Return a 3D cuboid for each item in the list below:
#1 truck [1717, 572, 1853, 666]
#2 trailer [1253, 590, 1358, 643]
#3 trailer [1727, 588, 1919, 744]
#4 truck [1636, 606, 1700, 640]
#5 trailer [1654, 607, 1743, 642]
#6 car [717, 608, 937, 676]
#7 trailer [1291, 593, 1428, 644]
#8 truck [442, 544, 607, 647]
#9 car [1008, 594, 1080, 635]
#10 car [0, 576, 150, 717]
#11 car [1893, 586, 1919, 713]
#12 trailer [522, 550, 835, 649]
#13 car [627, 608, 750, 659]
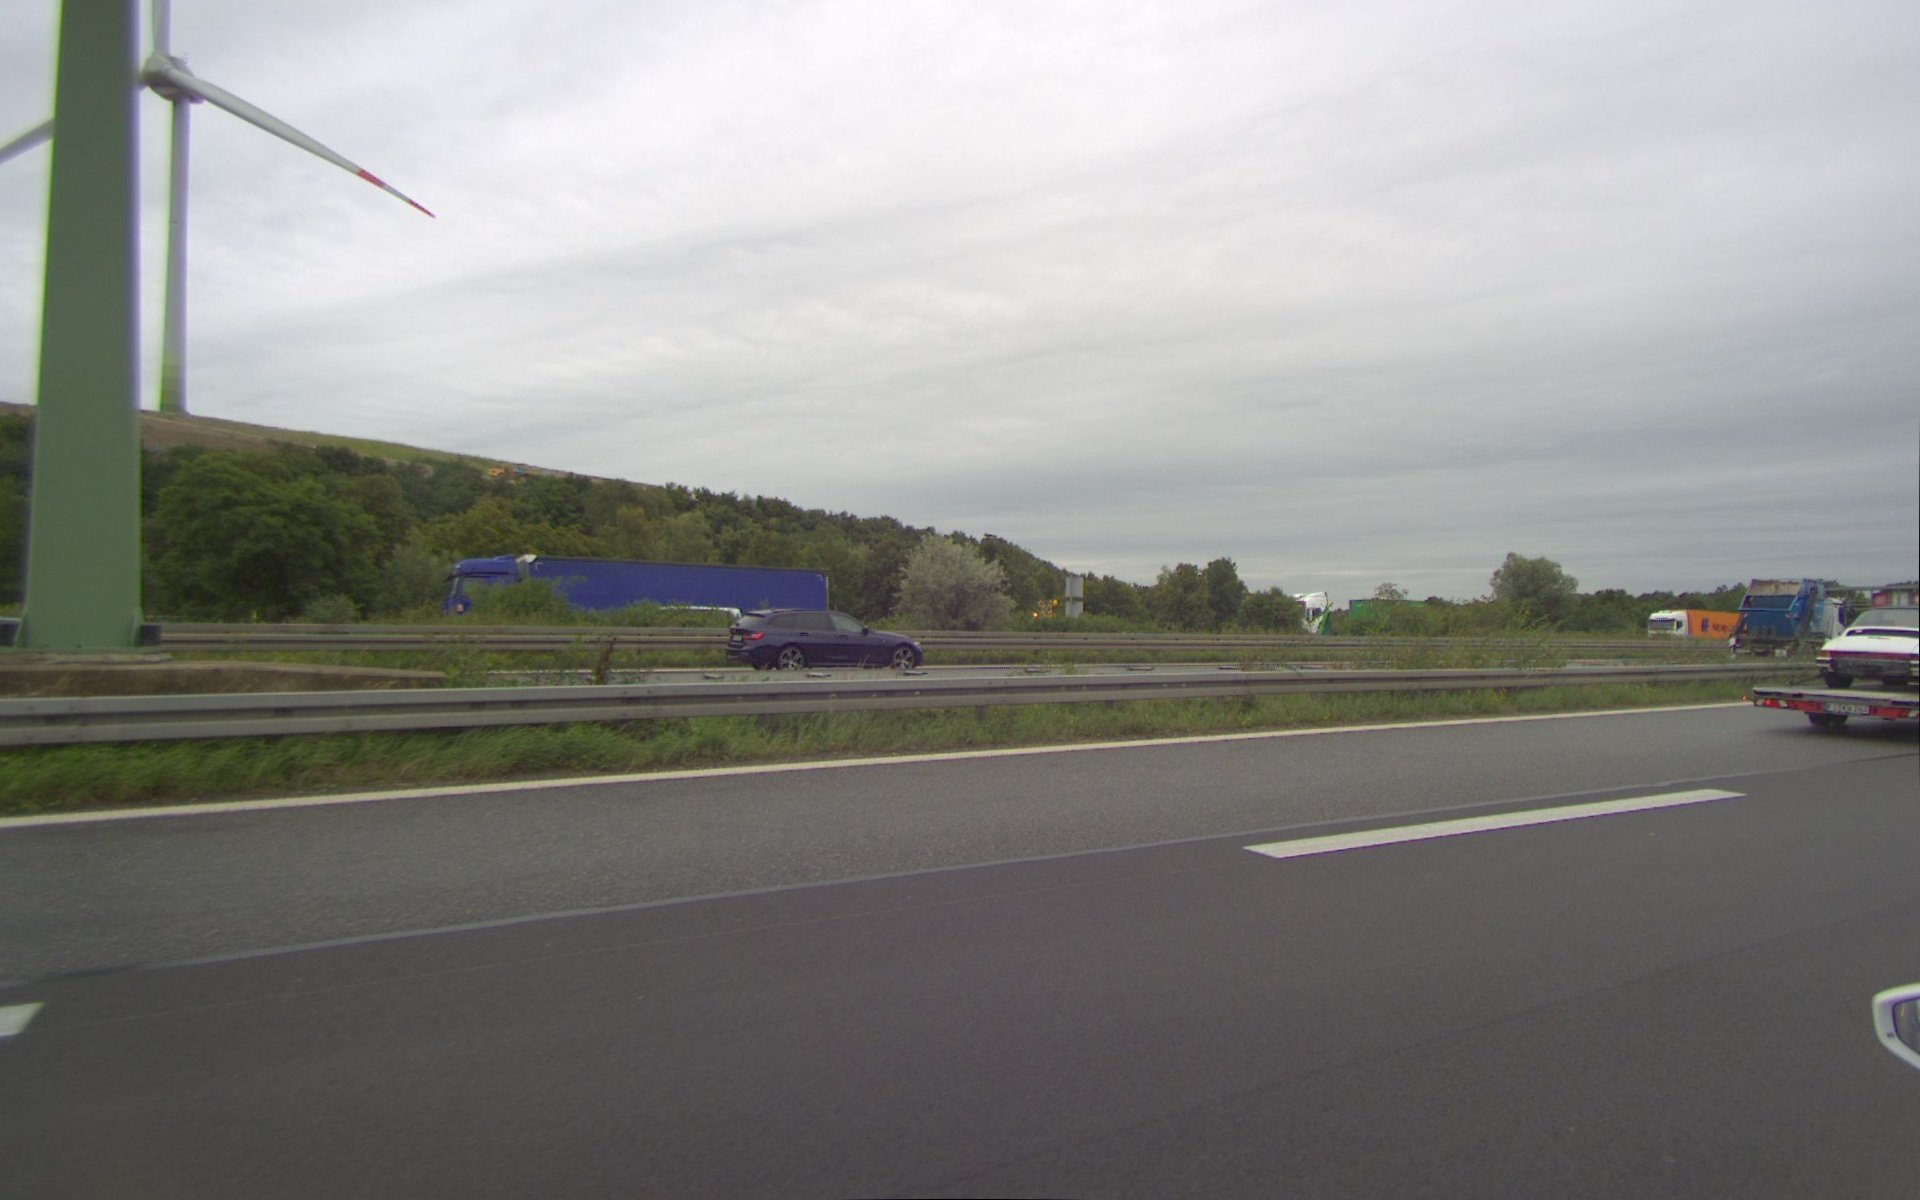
[{"bbox_3d":[36.522,0.897,44.407,7.268,3.863,2.621,2,0,-34],"label":"truck"},{"bbox_3d":[23.512,1.167,68.280,7.195,3.448,2.942,2,-1,-33],"label":"trailer"},{"bbox_3d":[14.966,0.949,15.678,6.985,2.021,2.471,2,0,-32],"label":"trailer"},{"bbox_3d":[68.172,2.233,96.702,6.383,3.114,2.670,2,0,-32],"label":"truck"},{"bbox_3d":[73.767,2.467,100.199,12.428,3.114,2.670,2,0,-32],"label":"trailer"},{"bbox_3d":[-3.007,0.969,23.172,4.725,1.410,1.793,2,-1,-34],"label":"car"},{"bbox_3d":[28.696,1.373,71.728,11.679,3.448,2.942,2,-1,-34],"label":"trailer"},{"bbox_3d":[-18.089,-0.105,41.778,5.836,3.978,2.942,2,-1,-33],"label":"truck"},{"bbox_3d":[5.170,0.912,61.573,3.957,2.408,2.010,2,0,-33],"label":"car"},{"bbox_3d":[-12.748,0.490,11.832,4.756,1.648,1.871,2,0,-33],"label":"car"},{"bbox_3d":[20.508,0.994,19.207,6.187,2.296,2.360,2,0,-32],"label":"car"},{"bbox_3d":[-12.380,0.136,45.577,13.384,3.978,2.941,2,-1,-34],"label":"trailer"},{"bbox_3d":[-11.134,1.374,41.322,4.478,1.946,1.982,2,-1,-33],"label":"car"}]
